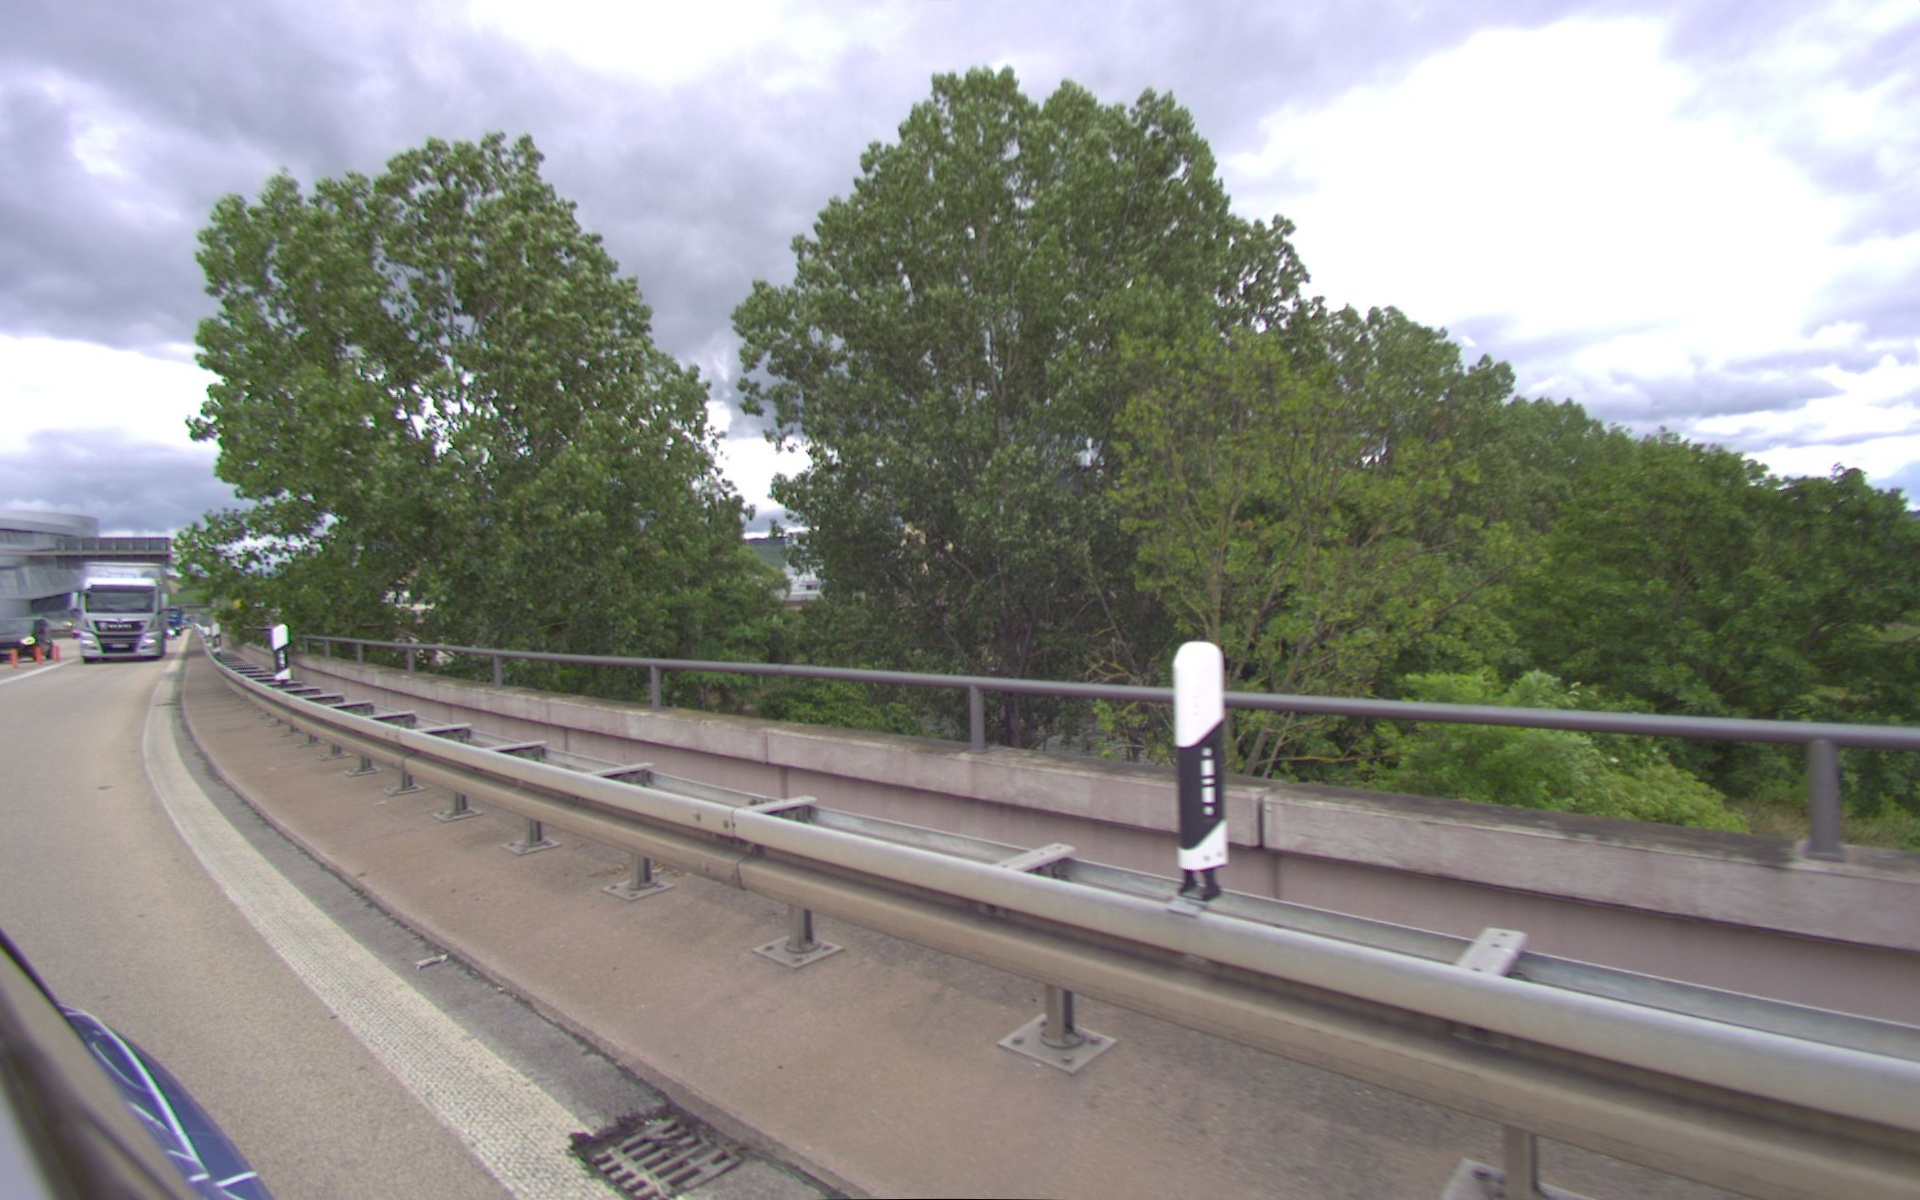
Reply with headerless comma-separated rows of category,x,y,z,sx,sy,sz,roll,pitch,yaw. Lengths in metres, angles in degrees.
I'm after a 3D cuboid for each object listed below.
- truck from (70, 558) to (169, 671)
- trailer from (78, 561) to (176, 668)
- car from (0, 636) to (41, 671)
truck,-34.270,0.575,41.453,2.692,4.260,6.215,-1,0,-36
trailer,-38.138,0.654,46.711,2.704,4.269,13.478,-1,0,-36
car,-42.133,2.366,44.796,1.761,1.420,3.810,-1,0,-37
